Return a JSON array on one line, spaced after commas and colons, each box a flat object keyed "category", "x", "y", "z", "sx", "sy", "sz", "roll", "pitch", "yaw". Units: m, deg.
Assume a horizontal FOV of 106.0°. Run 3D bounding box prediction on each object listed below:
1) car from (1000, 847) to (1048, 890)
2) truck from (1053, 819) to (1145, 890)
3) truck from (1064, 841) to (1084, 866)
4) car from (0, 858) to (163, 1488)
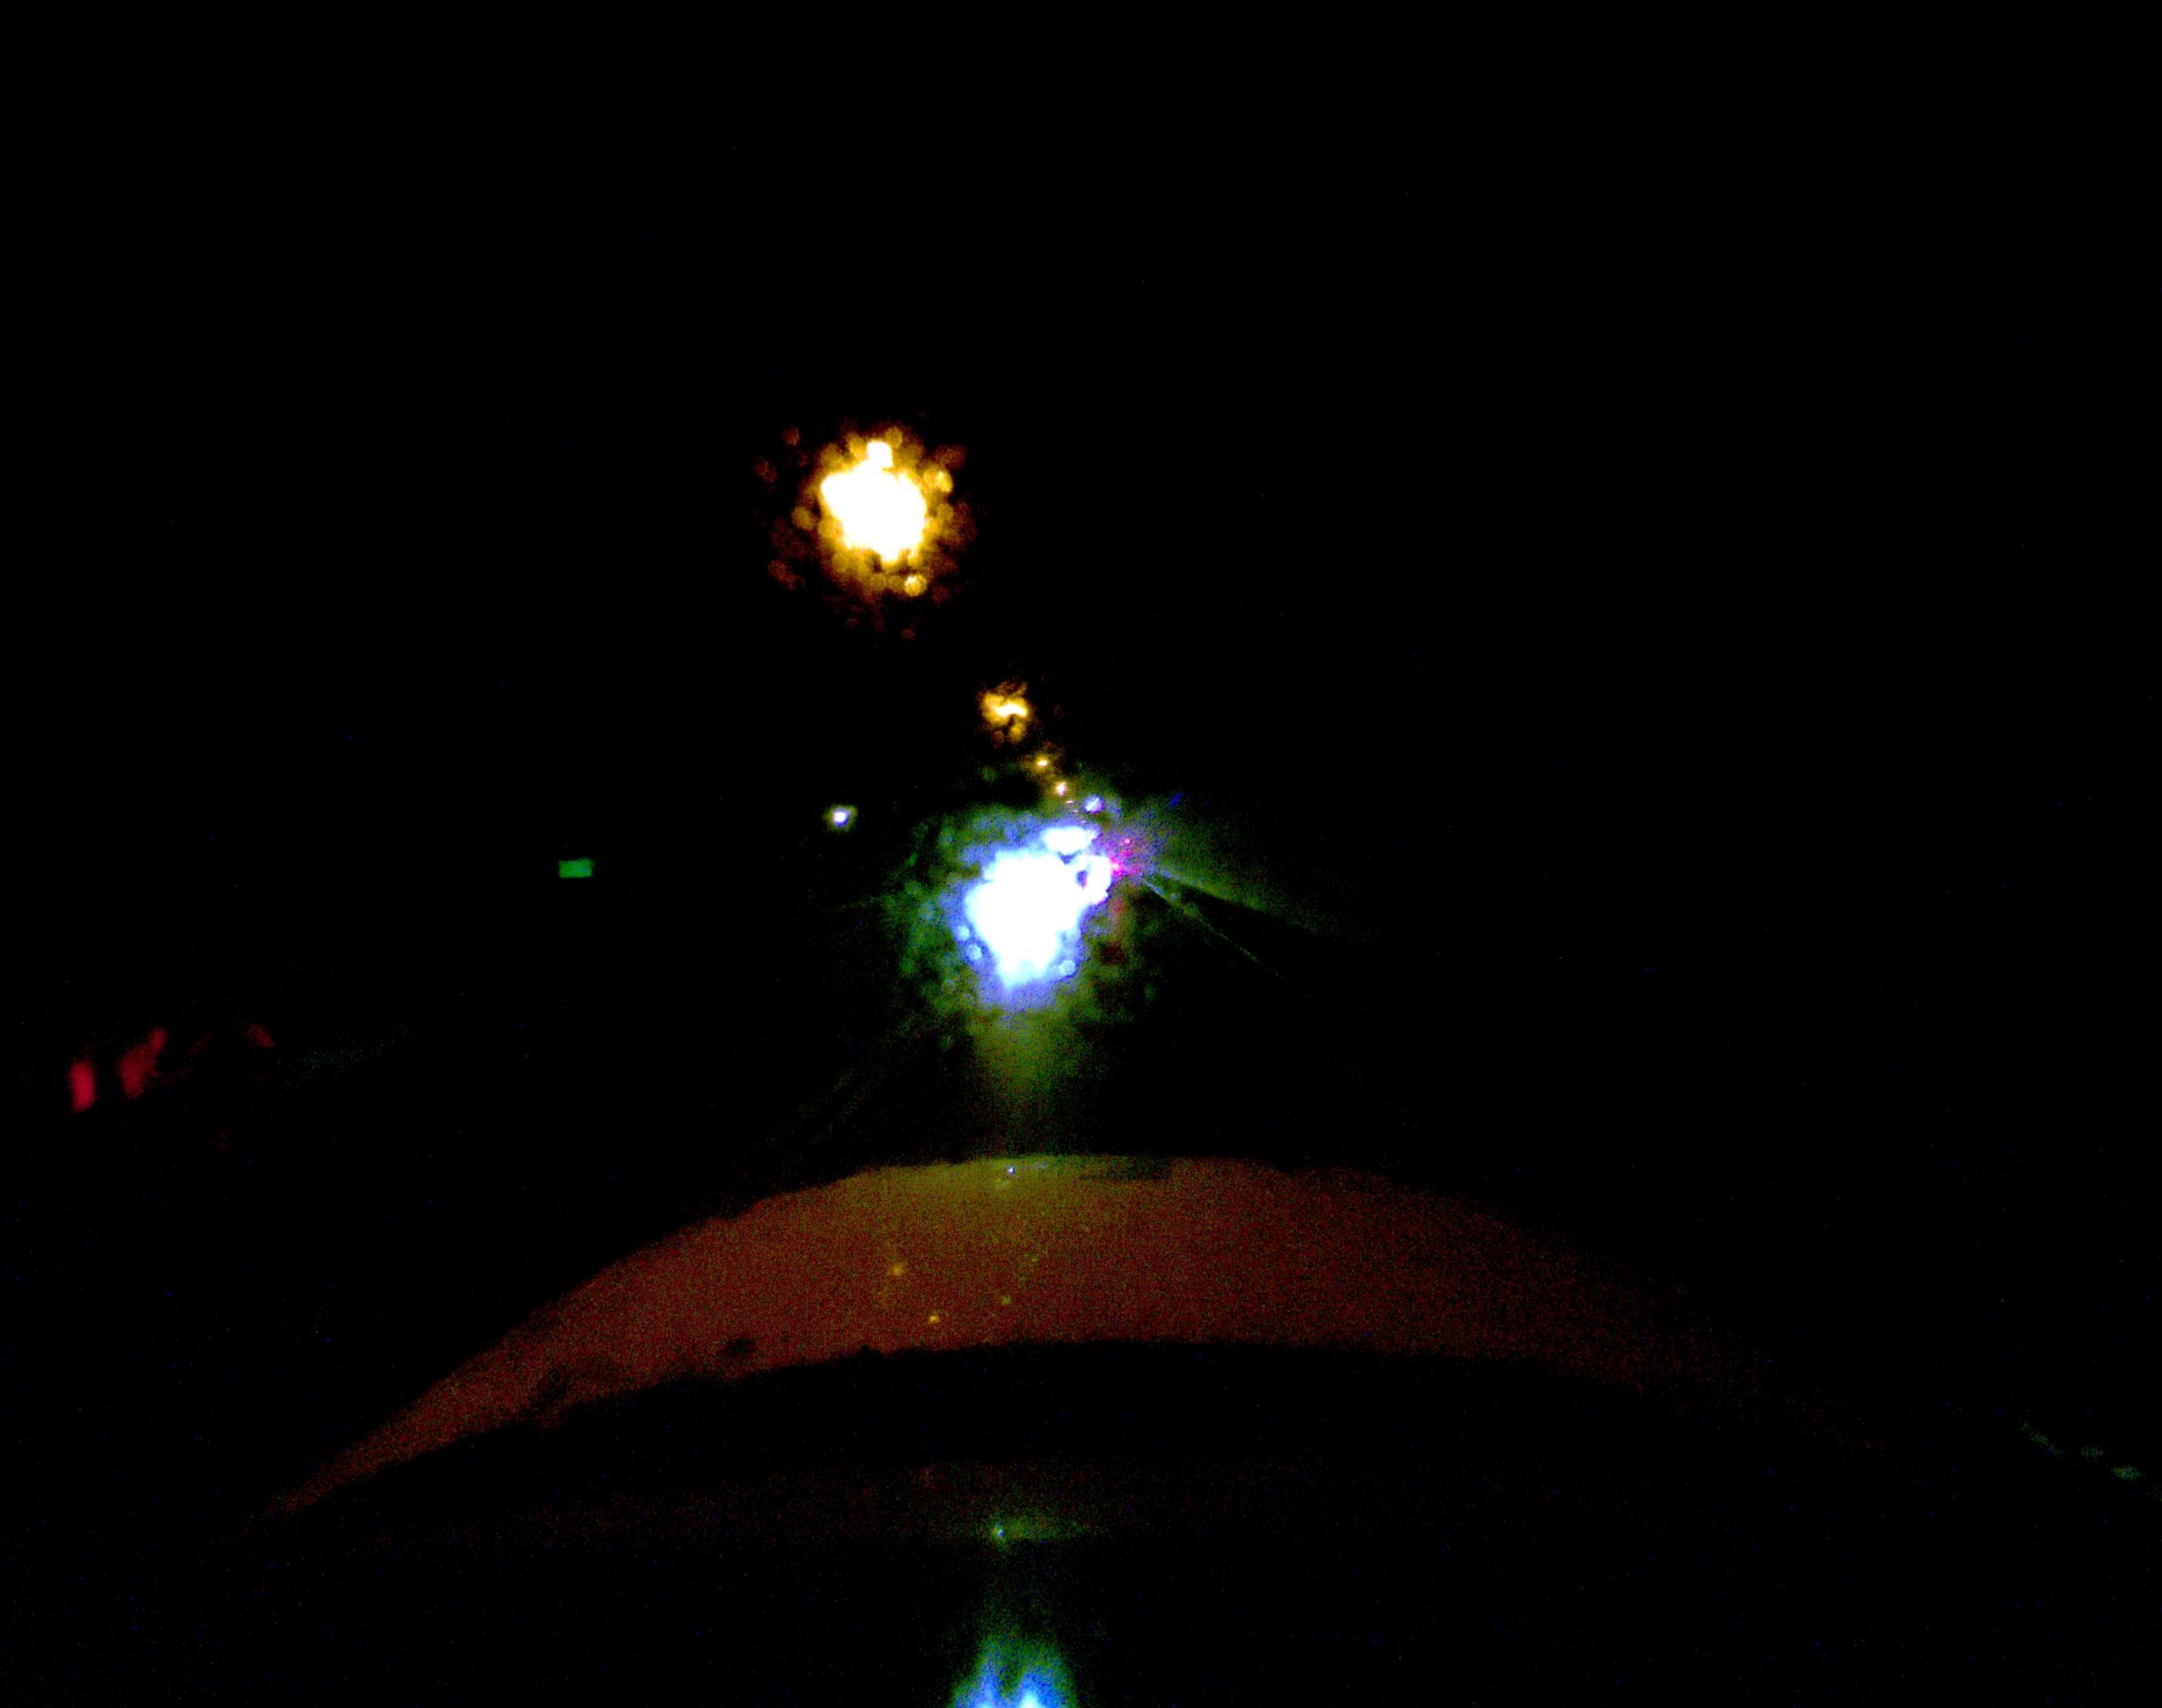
[{"category": "car", "x": -2.472, "y": 0.606, "z": 36.227, "sx": 1.723, "sy": 1.792, "sz": 3.933, "roll": 0, "pitch": 0, "yaw": 2}, {"category": "truck", "x": 0.846, "y": 0.021, "z": 35.709, "sx": 3.521, "sy": 2.693, "sz": 8.960, "roll": 0, "pitch": 0, "yaw": 2}, {"category": "truck", "x": -0.852, "y": -0.019, "z": 102.251, "sx": 2.272, "sy": 3.016, "sz": 6.594, "roll": 1, "pitch": 0, "yaw": 1}, {"category": "car", "x": -3.469, "y": 0.766, "z": 0.314, "sx": 1.753, "sy": 1.480, "sz": 3.888, "roll": 0, "pitch": 0, "yaw": 1}]
